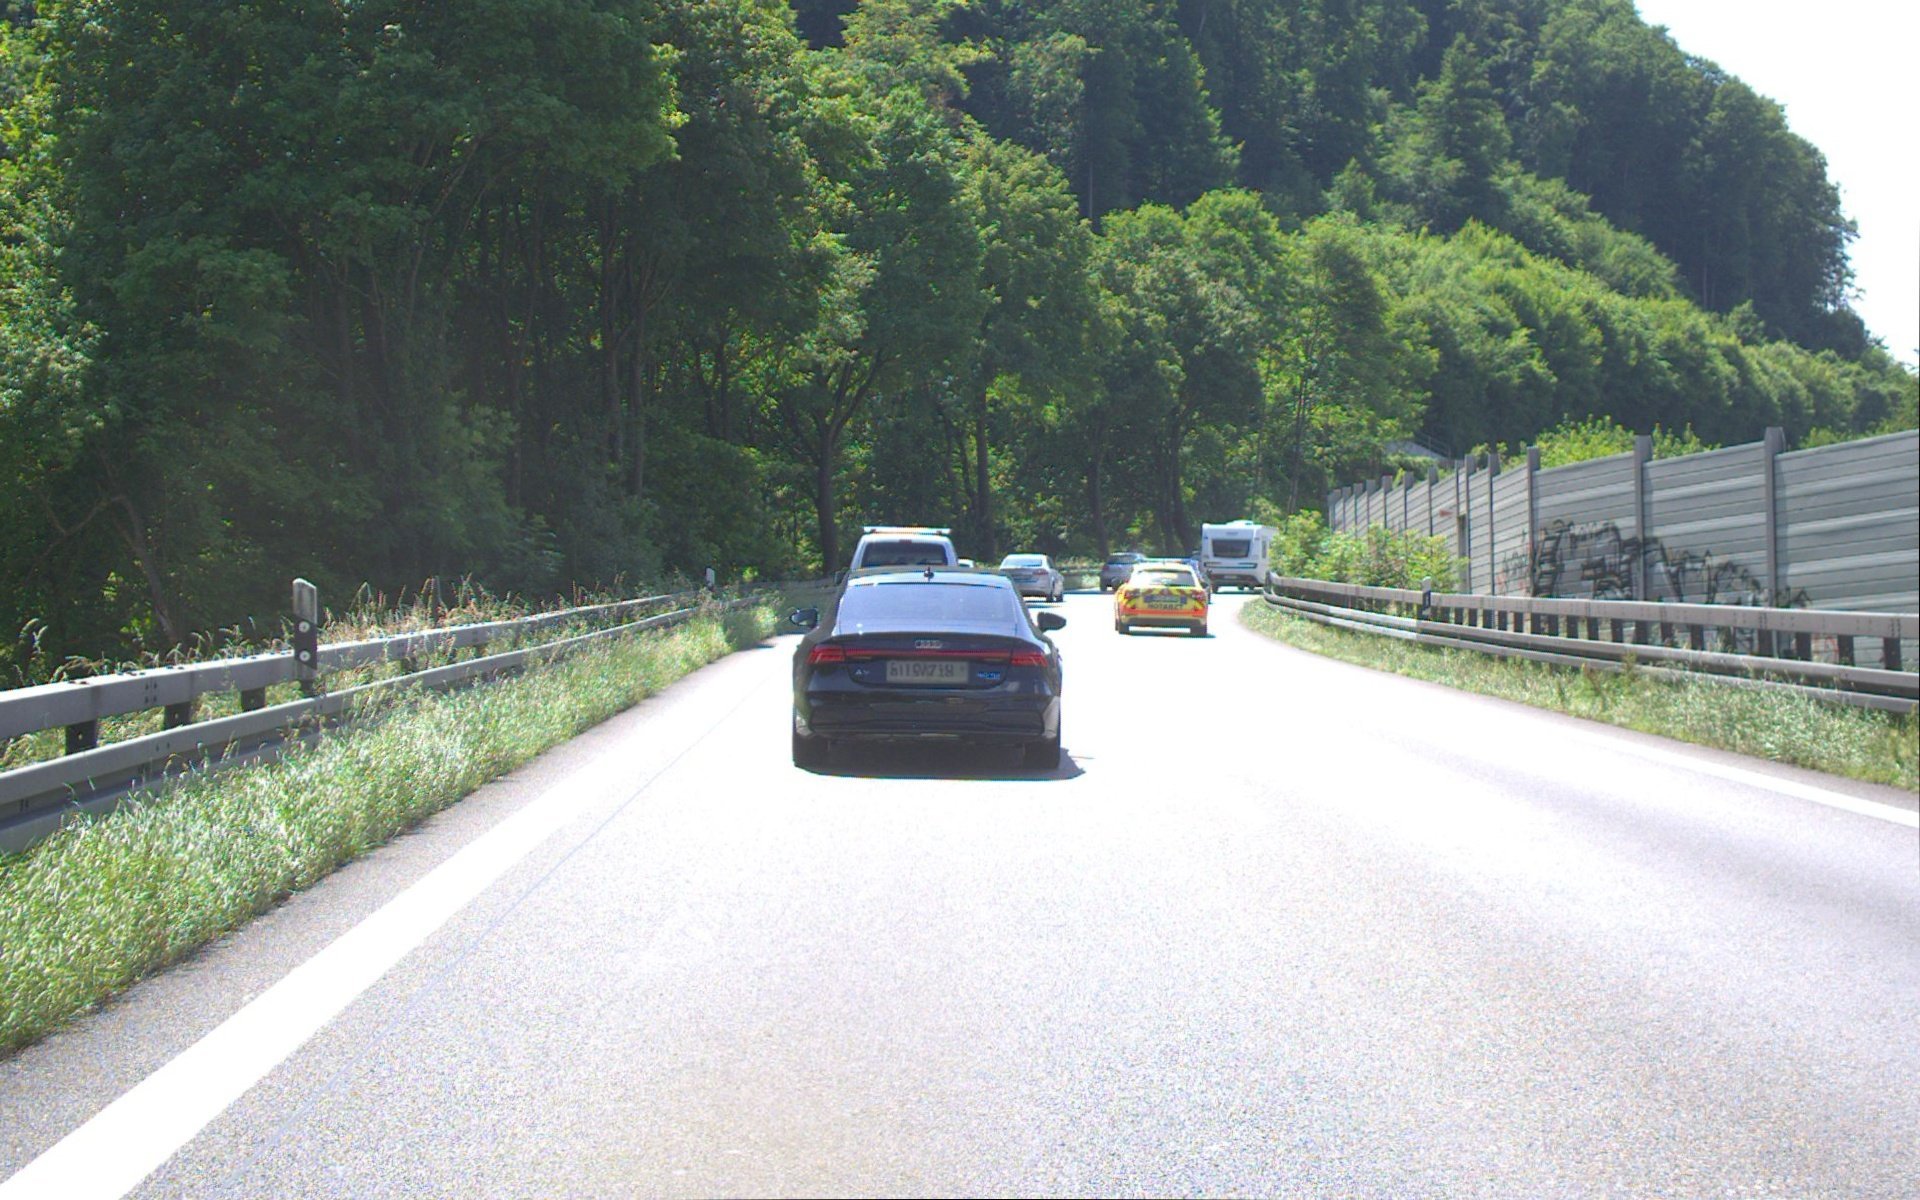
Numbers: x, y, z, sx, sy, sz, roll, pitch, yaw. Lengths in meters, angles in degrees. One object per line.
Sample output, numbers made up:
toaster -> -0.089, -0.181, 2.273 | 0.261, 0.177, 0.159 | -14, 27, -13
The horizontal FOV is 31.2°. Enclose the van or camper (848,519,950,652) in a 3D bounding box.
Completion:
van or camper -> -0.864, -0.213, 49.040 | 1.391, 1.809, 4.000 | 0, 0, -1

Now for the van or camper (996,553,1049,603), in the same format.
van or camper -> 1.931, -0.673, 107.184 | 1.557, 1.529, 3.505 | 0, 0, 0

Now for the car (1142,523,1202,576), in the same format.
car -> 6.794, -1.610, 110.468 | 1.773, 1.631, 4.000 | 1, 0, 2

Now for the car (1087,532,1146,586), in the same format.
car -> 6.031, -1.561, 131.881 | 1.994, 2.007, 3.999 | 0, 0, 6

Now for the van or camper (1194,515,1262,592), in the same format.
van or camper -> 10.293, -1.768, 132.215 | 2.456, 2.908, 6.125 | 0, 0, 3

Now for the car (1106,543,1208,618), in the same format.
car -> 4.012, -0.397, 70.440 | 1.863, 1.483, 4.000 | 0, 0, 0

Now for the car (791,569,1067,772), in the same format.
car -> -0.238, 0.458, 24.978 | 1.837, 1.345, 4.000 | 0, 0, -1
